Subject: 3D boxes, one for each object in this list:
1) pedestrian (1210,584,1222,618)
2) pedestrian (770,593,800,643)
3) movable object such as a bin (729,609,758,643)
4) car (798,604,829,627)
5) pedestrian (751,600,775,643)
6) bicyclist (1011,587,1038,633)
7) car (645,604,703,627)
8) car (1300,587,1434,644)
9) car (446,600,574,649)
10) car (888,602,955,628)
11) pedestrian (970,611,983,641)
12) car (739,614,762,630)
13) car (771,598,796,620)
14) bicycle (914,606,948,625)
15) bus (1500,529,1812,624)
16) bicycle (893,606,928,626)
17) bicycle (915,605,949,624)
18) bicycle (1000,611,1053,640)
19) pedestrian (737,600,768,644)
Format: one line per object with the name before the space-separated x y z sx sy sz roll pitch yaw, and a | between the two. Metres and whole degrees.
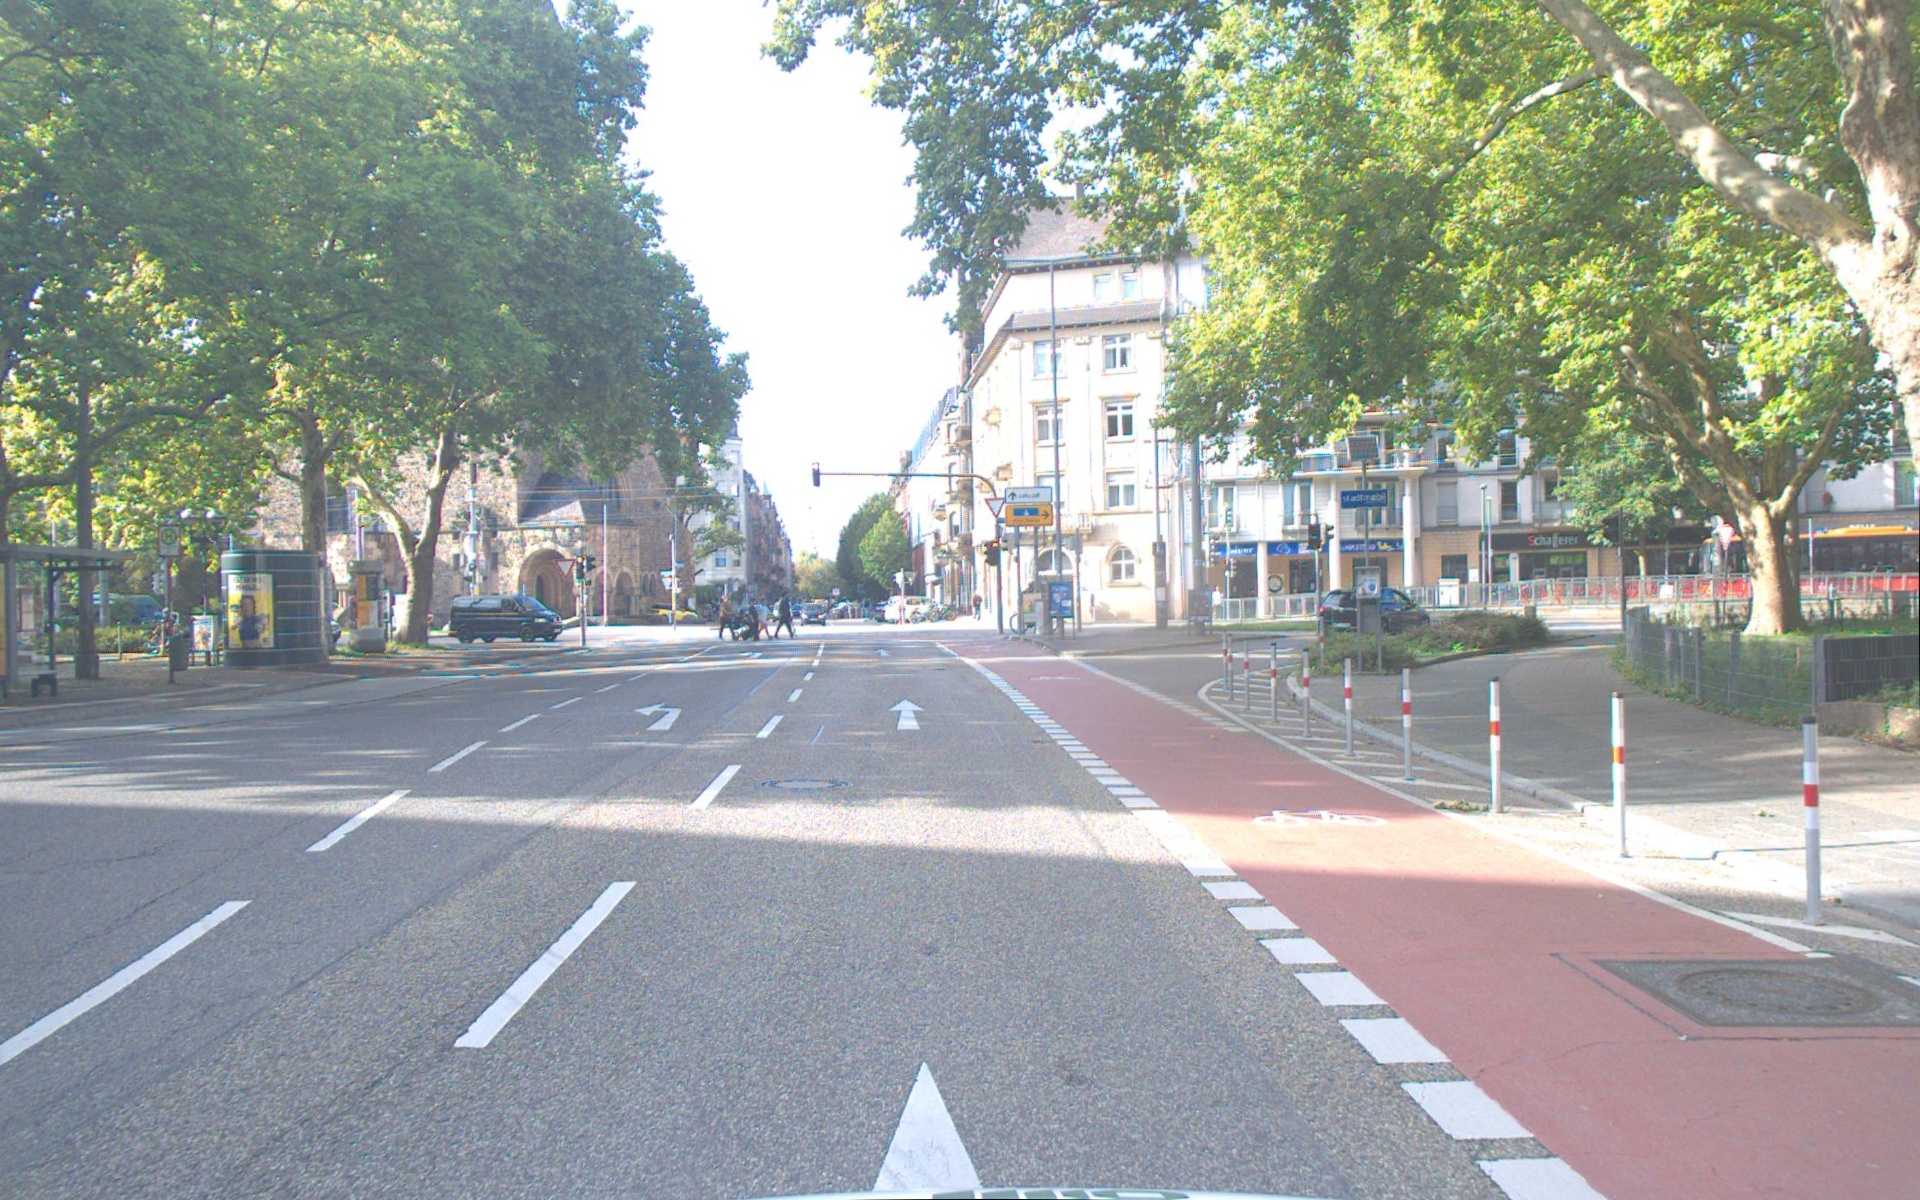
pedestrian | 13.032 0.045 84.223 0.485 1.744 0.527 1 -1 20
pedestrian | -6.078 0.621 57.421 0.764 1.691 0.779 -1 0 19
movable object such as a bin | -7.522 0.913 57.524 0.820 1.143 0.575 -1 0 19
car | -9.658 1.004 109.105 1.911 1.396 3.996 -1 0 -4
pedestrian | -6.755 0.740 56.681 0.641 1.457 0.499 -1 0 19
bicyclist | 2.293 0.352 58.920 0.762 1.607 0.625 -2 0 21
car | -21.525 1.192 124.544 3.968 1.624 1.839 -2 0 -43
car | 10.868 0.396 44.019 1.727 1.438 3.973 -1 0 44
car | -18.764 1.031 69.045 4.740 1.903 2.033 -1 0 16
car | -2.382 0.913 101.833 3.912 1.445 1.997 -2 0 -8
pedestrian | 0.933 1.460 91.980 0.550 1.652 0.601 -2 -1 17
car | -17.018 1.785 134.323 1.519 1.251 3.586 0 0 -1
car | -15.044 0.771 141.303 1.911 1.780 3.996 -2 0 -4
bicycle | -1.770 0.927 100.196 1.988 1.101 0.628 -2 0 -14
bus | 29.505 -0.946 70.851 12.006 3.610 3.030 -1 0 19
bicycle | -2.994 0.964 99.366 1.988 1.101 0.618 -2 0 -14
bicycle | -1.685 0.887 99.516 1.988 1.101 0.618 -2 0 -14
bicycle | 2.376 0.900 58.874 1.792 0.972 0.573 -2 0 22
pedestrian | -7.041 0.733 56.109 0.764 1.457 0.731 -1 0 19
